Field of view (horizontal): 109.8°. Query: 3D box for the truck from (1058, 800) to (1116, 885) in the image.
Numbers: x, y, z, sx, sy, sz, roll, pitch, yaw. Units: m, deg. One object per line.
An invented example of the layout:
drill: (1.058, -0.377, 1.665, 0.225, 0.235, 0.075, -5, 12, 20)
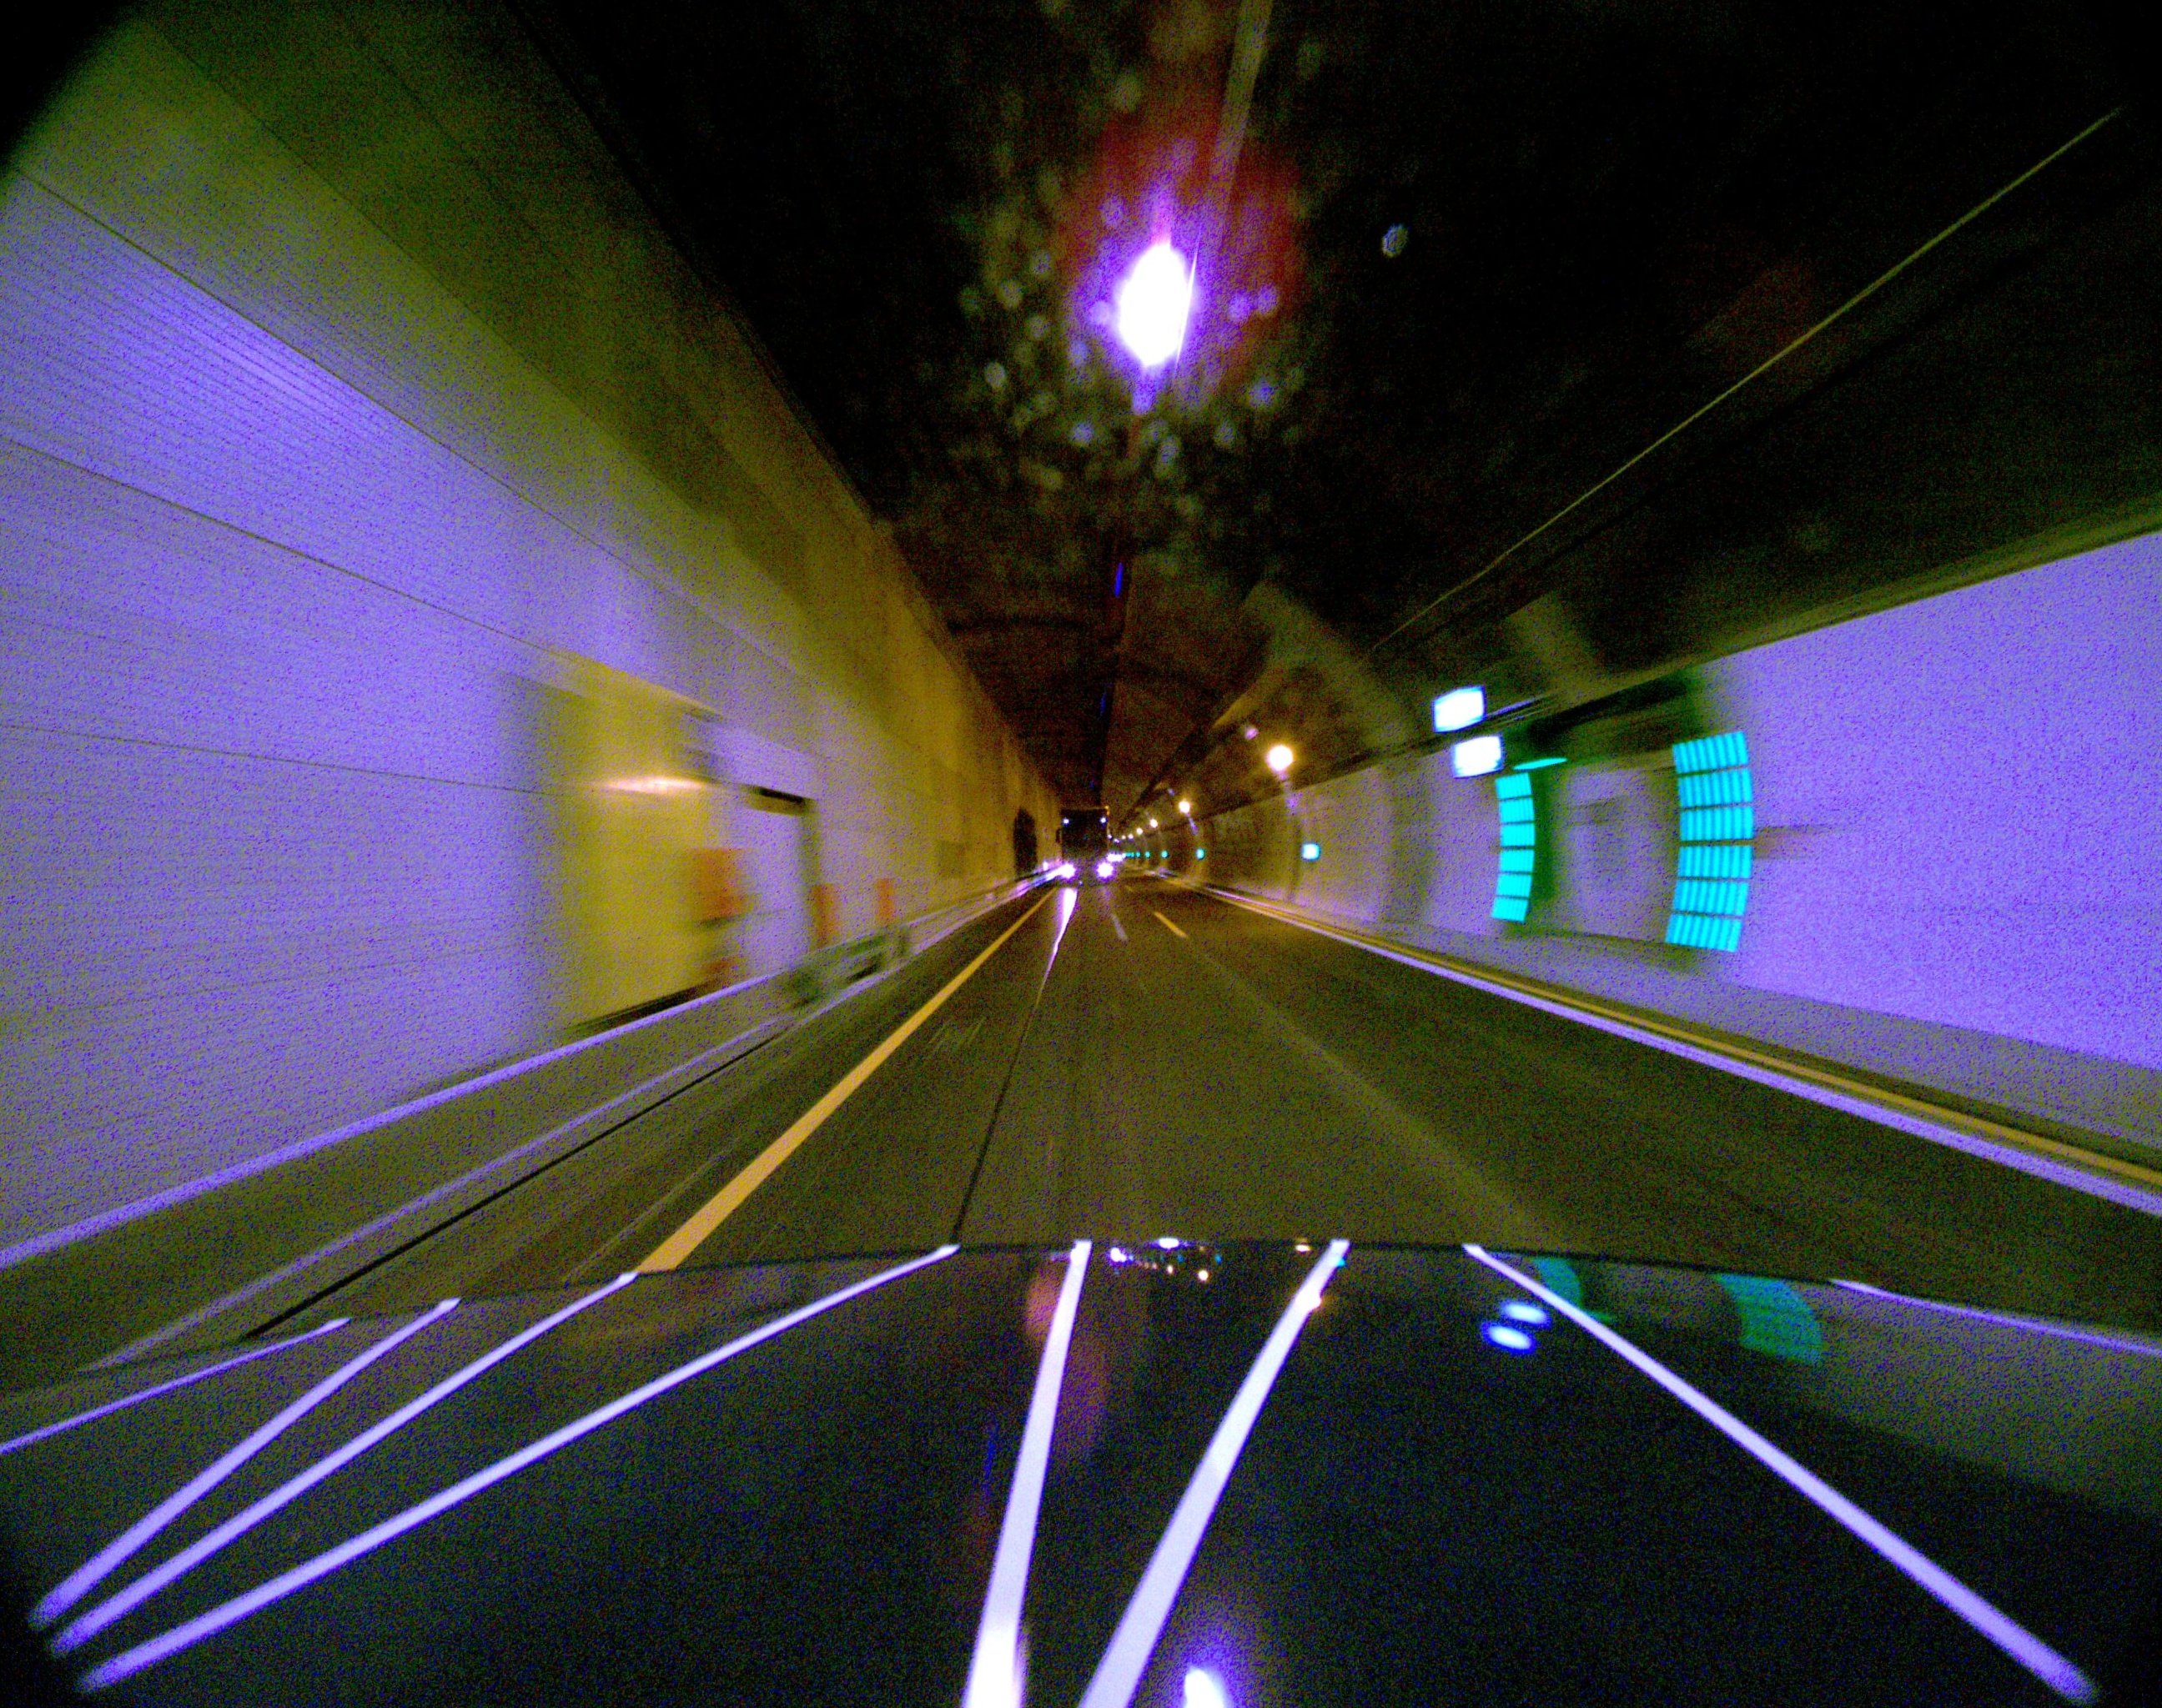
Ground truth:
truck: (0.342, -0.618, 41.915, 2.769, 4.198, 7.976, -1, 1, 1)
